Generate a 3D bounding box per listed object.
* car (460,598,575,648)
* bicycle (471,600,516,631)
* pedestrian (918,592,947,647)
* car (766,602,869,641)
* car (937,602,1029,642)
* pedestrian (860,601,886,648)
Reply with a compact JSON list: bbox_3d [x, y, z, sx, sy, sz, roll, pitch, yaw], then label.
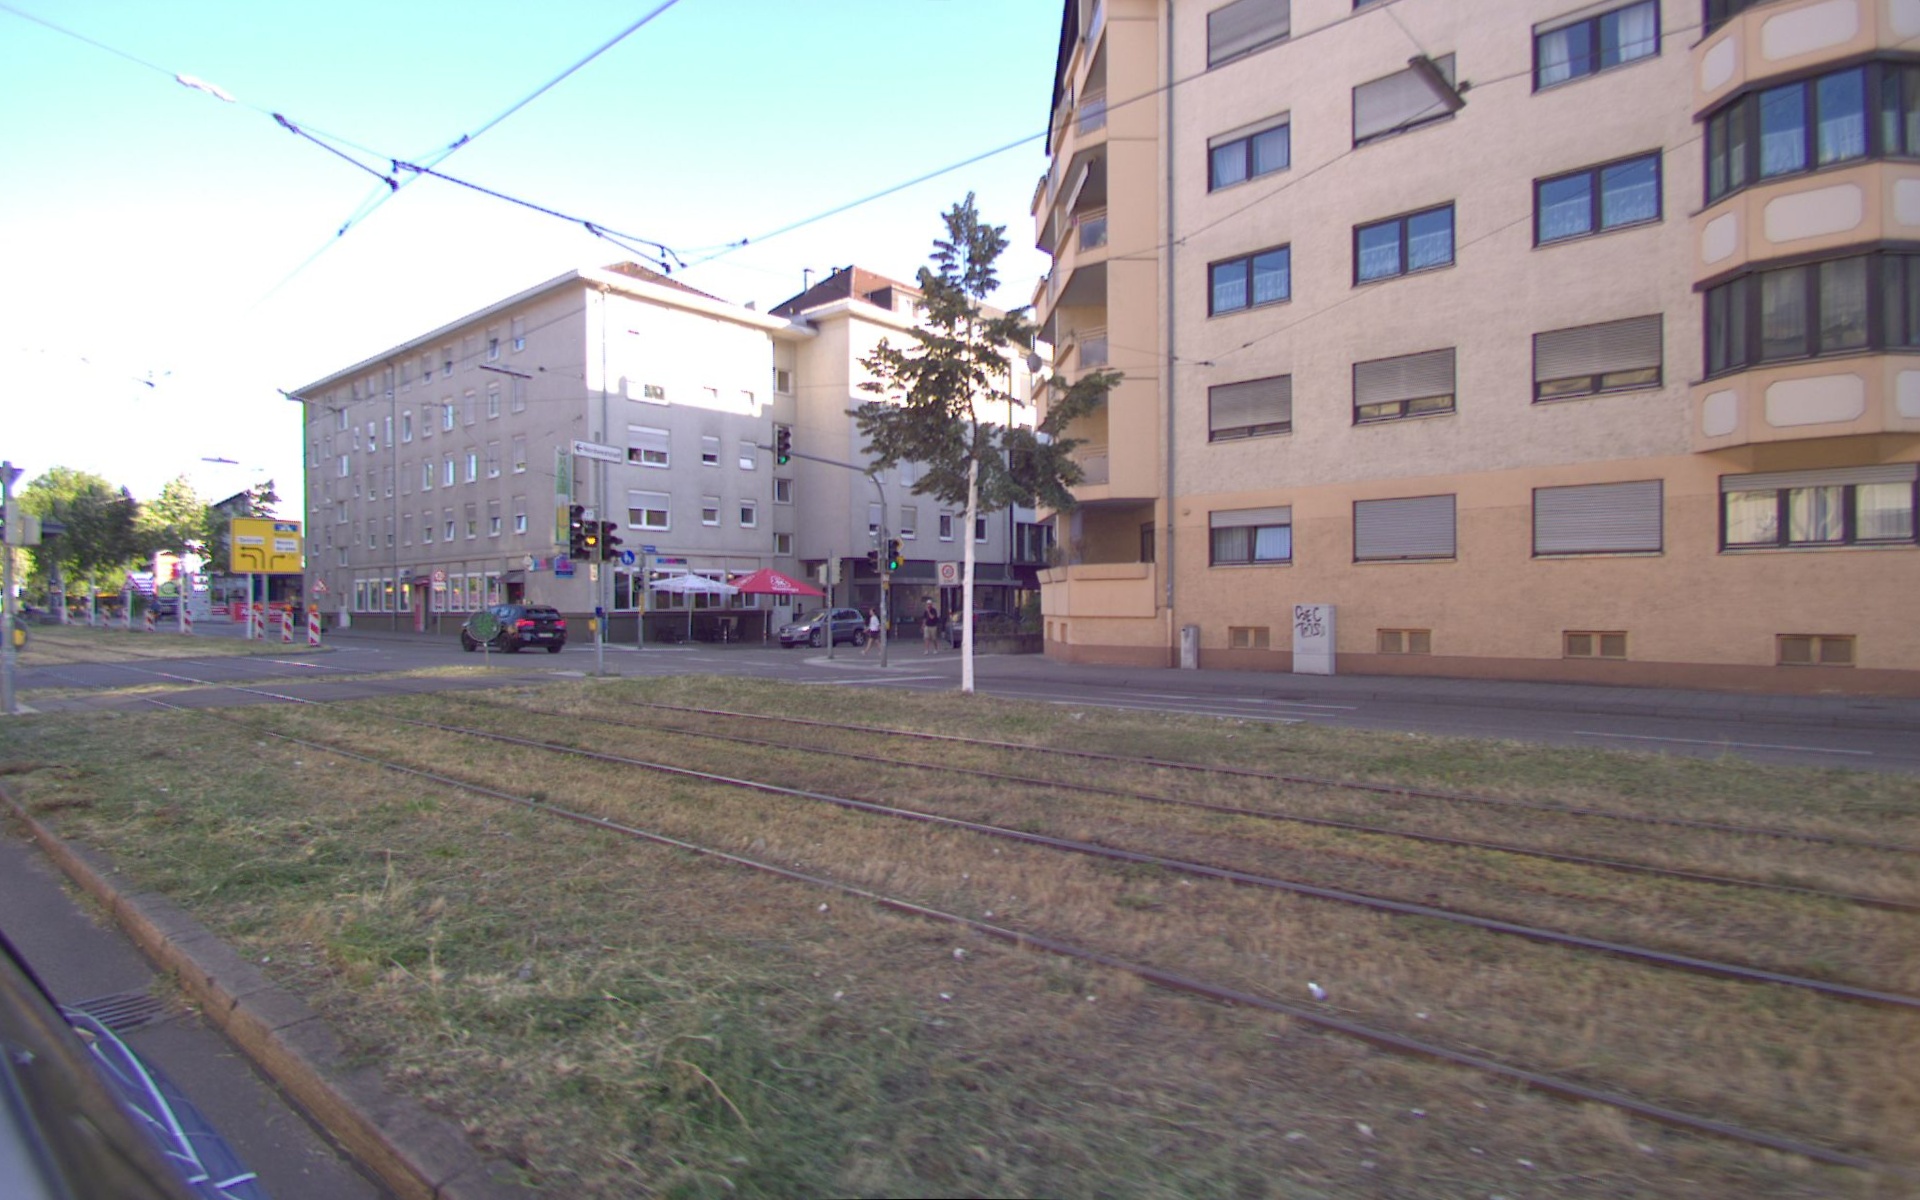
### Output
[{"bbox_3d":[-15.222,0.765,34.723,4.467,1.603,1.897,-1,-1,41],"label":"car"},{"bbox_3d":[-21.583,0.714,46.750,3.235,1.388,0.572,0,0,40],"label":"bicycle"},{"bbox_3d":[-0.909,0.631,33.353,0.625,1.784,0.827,0,0,-28],"label":"pedestrian"},{"bbox_3d":[-5.814,0.858,41.673,1.997,1.519,3.950,0,0,37],"label":"car"},{"bbox_3d":[0.970,0.862,40.399,1.812,1.519,3.952,0,-1,35],"label":"car"},{"bbox_3d":[-2.831,0.791,32.789,0.582,1.501,0.616,0,0,41],"label":"pedestrian"}]
